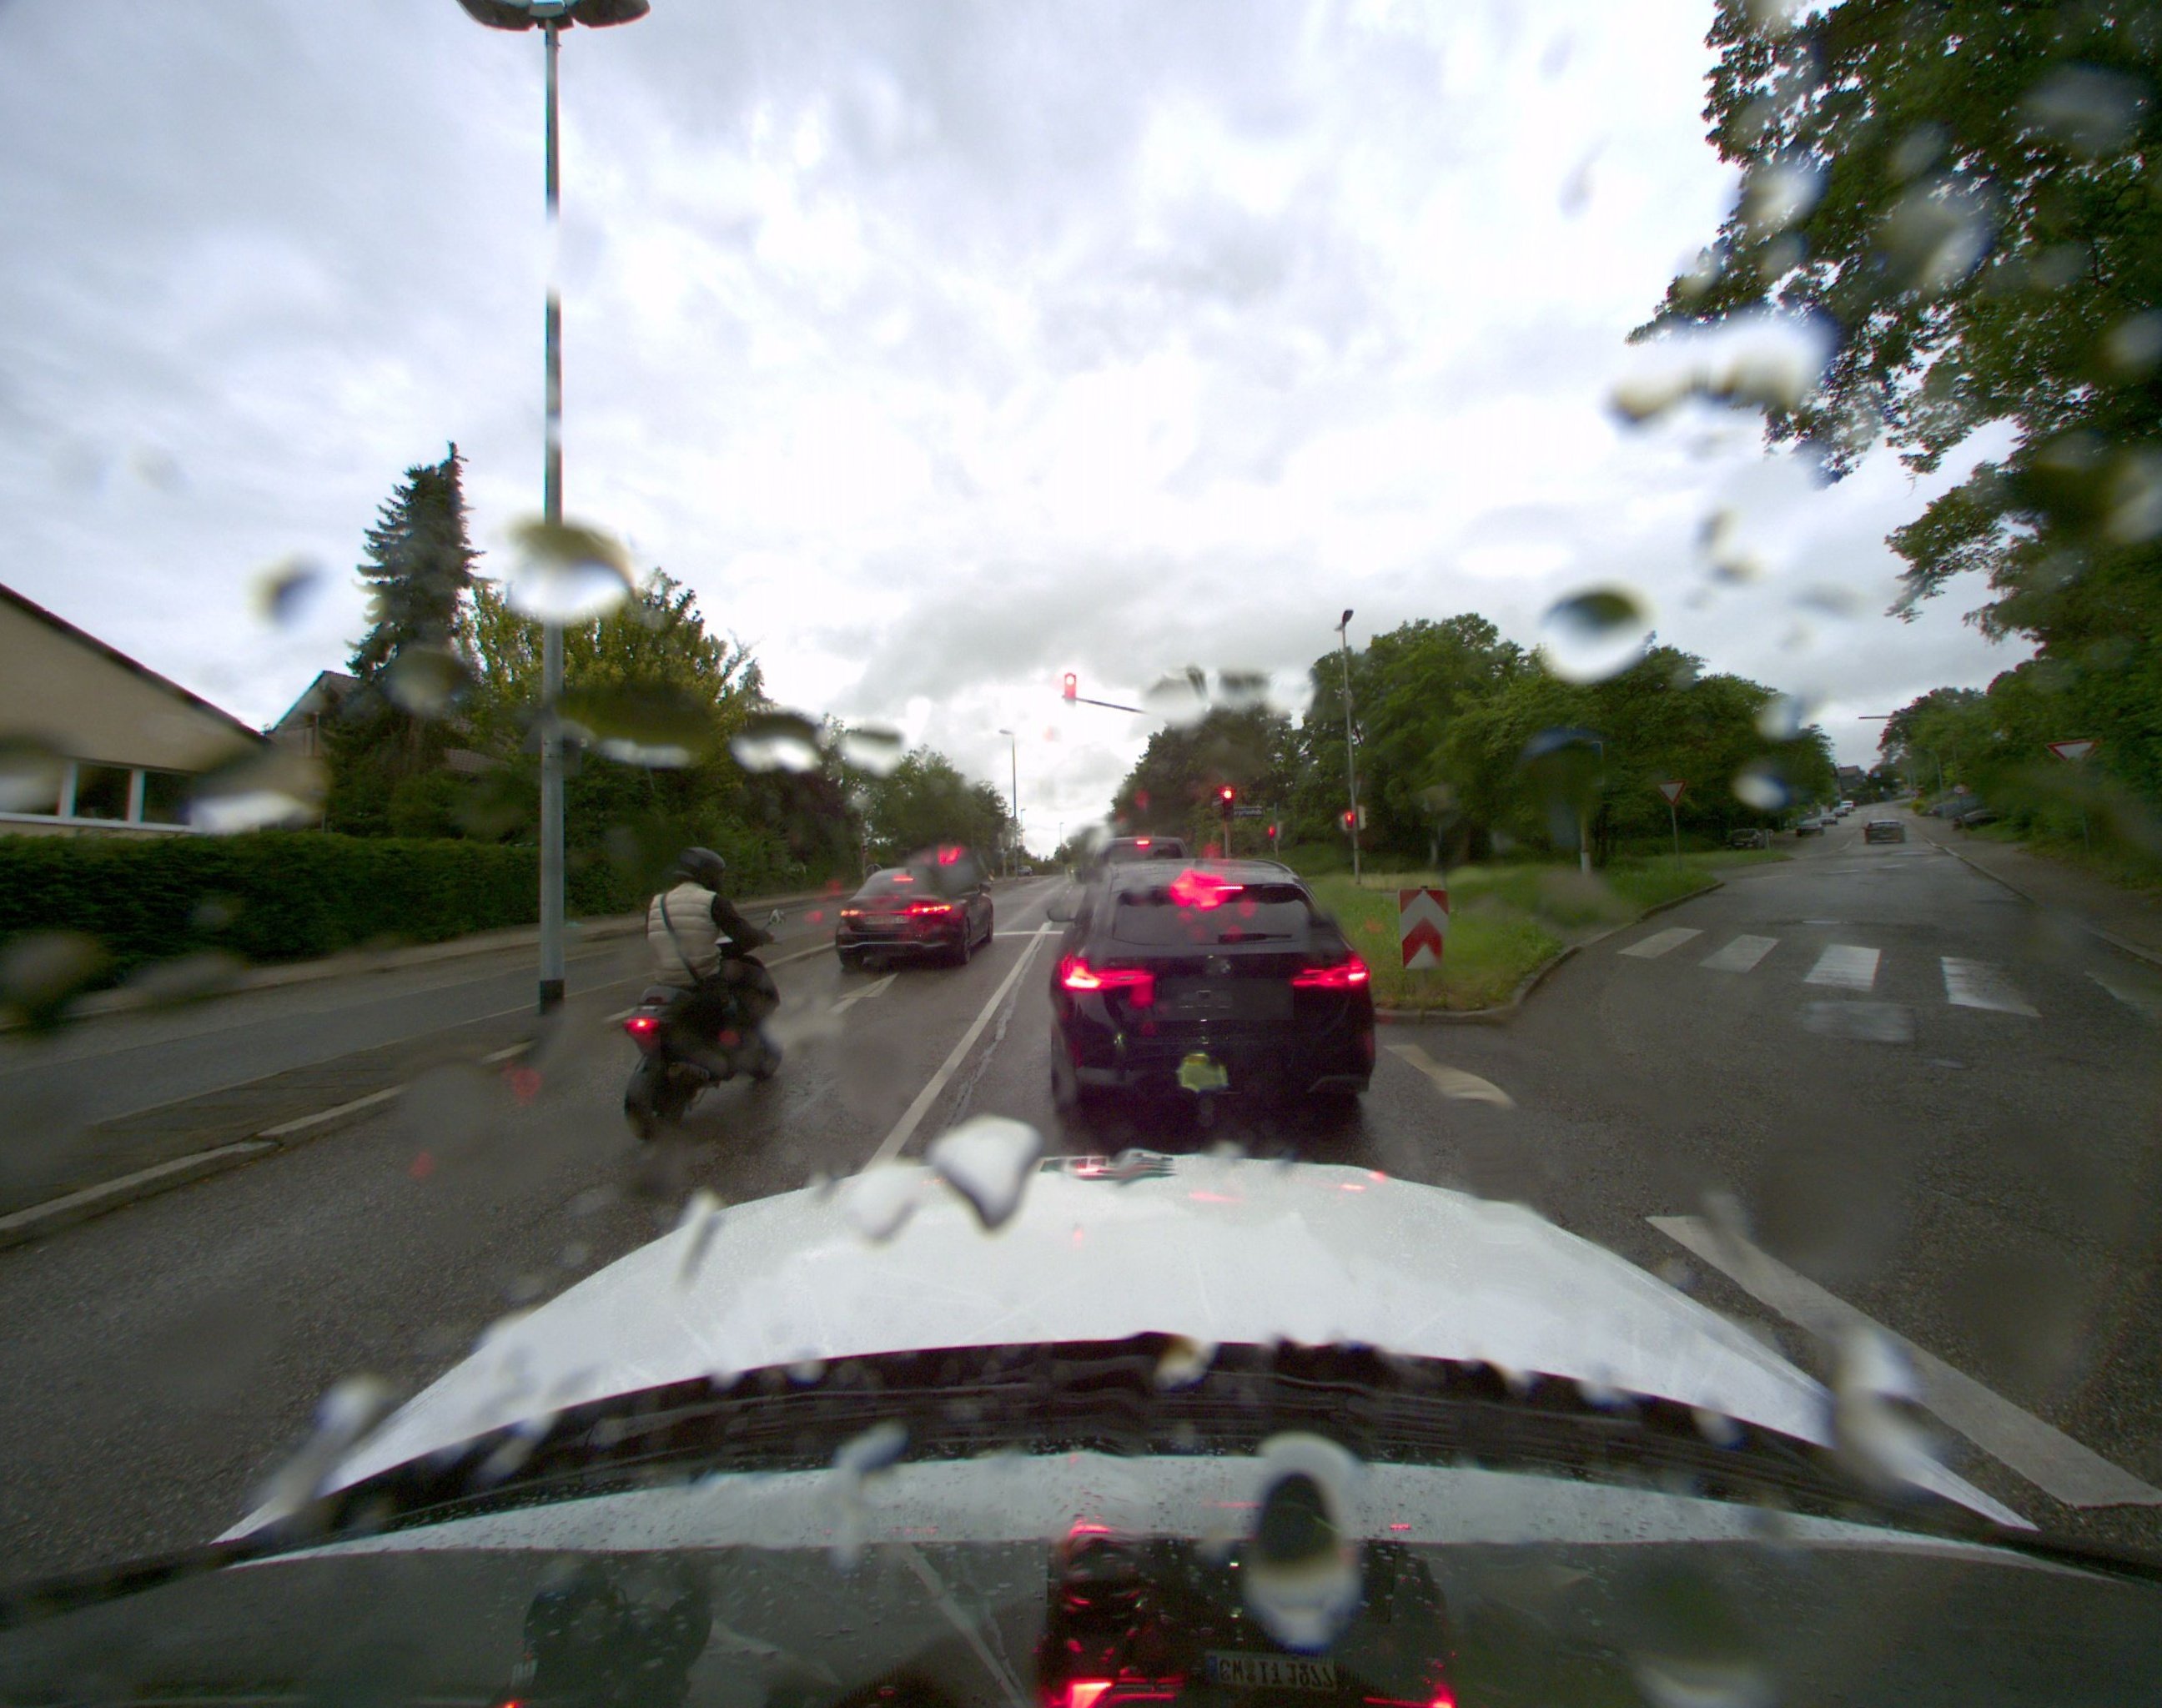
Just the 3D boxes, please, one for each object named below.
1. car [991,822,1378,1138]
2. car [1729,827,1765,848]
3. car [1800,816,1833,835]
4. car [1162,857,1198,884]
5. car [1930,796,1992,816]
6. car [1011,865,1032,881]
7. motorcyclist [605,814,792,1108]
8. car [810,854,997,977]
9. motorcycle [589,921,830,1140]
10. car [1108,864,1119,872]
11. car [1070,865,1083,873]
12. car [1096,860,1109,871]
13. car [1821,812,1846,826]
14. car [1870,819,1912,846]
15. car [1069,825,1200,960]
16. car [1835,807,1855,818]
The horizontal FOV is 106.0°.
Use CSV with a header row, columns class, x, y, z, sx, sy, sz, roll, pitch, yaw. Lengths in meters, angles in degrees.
class,x,y,z,sx,sy,sz,roll,pitch,yaw
car,0.648,0.676,6.353,1.890,1.551,4.619,-1,-1,3
car,46.025,-1.151,56.267,1.655,1.370,3.512,-3,0,43
car,66.279,-2.548,73.382,4.318,1.450,1.881,0,-1,-44
car,6.335,1.022,52.410,1.866,1.543,3.954,-4,-1,2
car,87.619,-4.732,81.154,3.949,1.574,1.785,-5,-1,42
car,-7.797,2.459,106.763,1.984,1.826,4.006,-4,-1,6
motorcyclist,-2.313,0.615,5.001,0.762,1.642,0.674,-3,-1,1
car,-2.615,0.856,13.151,1.987,1.527,4.326,-4,-1,0
motorcycle,-2.284,1.027,5.283,0.688,1.053,1.748,-3,-2,2
car,8.088,3.337,200.053,2.094,1.765,4.879,-4,-1,9
car,-0.992,3.043,164.829,1.982,1.611,3.680,-4,-1,9
car,3.105,1.680,116.266,1.691,1.427,3.515,-4,-1,2
car,88.212,-4.085,95.510,1.971,1.446,4.321,-2,-1,40
car,51.497,-1.386,51.772,4.187,1.442,1.795,-4,1,-44
car,0.830,0.565,13.454,1.811,1.868,3.954,-1,-1,2
car,114.507,-6.262,122.033,1.880,1.397,4.193,-2,-1,40
